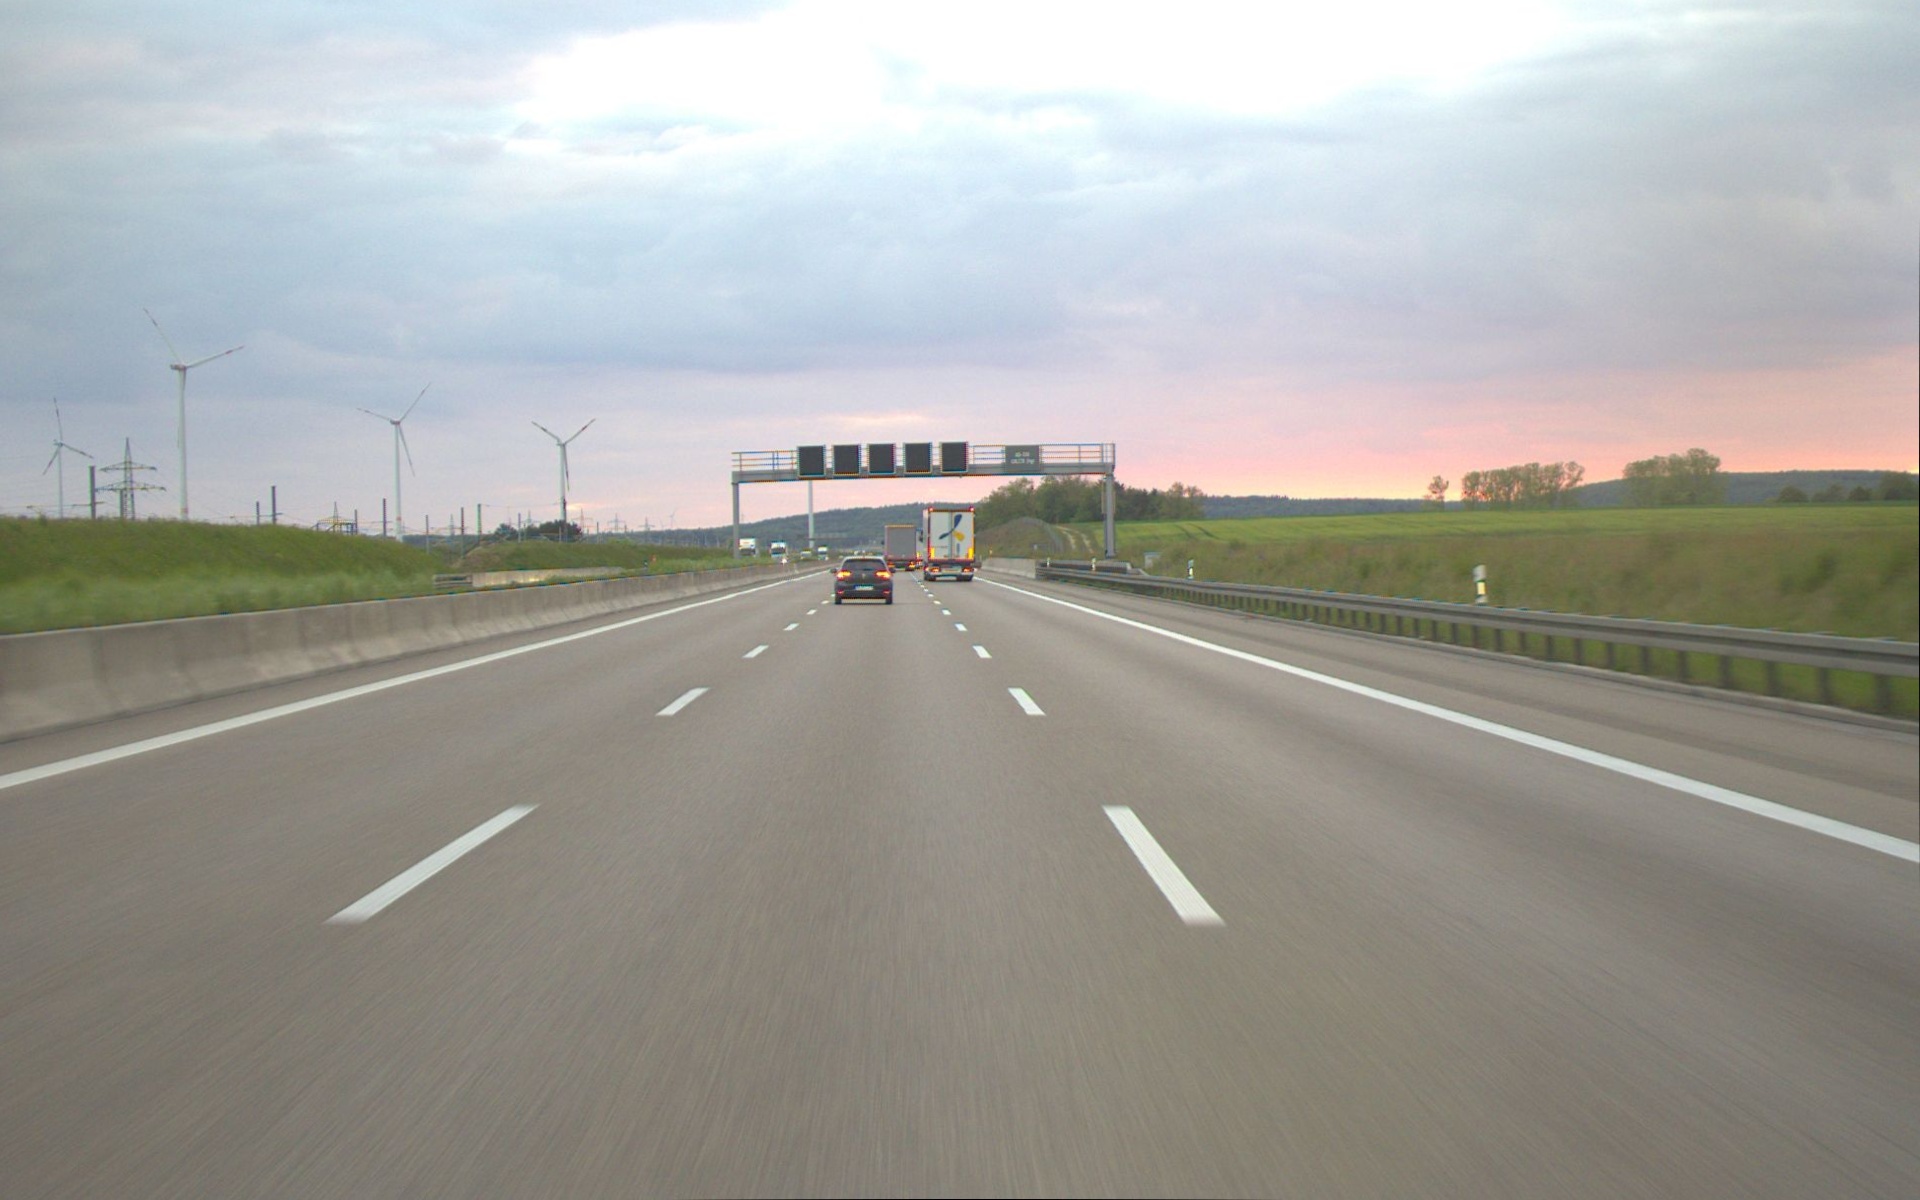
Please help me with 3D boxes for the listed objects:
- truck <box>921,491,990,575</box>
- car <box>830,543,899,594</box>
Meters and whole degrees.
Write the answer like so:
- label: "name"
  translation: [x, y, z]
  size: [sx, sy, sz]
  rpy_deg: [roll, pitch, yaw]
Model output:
- label: "truck"
  translation: [-0.318, -3.755, 193.011]
  size: [3.675, 4.549, 10.982]
  rpy_deg: [-1, 1, -1]
- label: "car"
  translation: [-2.842, -0.954, 103.047]
  size: [1.987, 1.425, 4.000]
  rpy_deg: [-1, 1, 0]
